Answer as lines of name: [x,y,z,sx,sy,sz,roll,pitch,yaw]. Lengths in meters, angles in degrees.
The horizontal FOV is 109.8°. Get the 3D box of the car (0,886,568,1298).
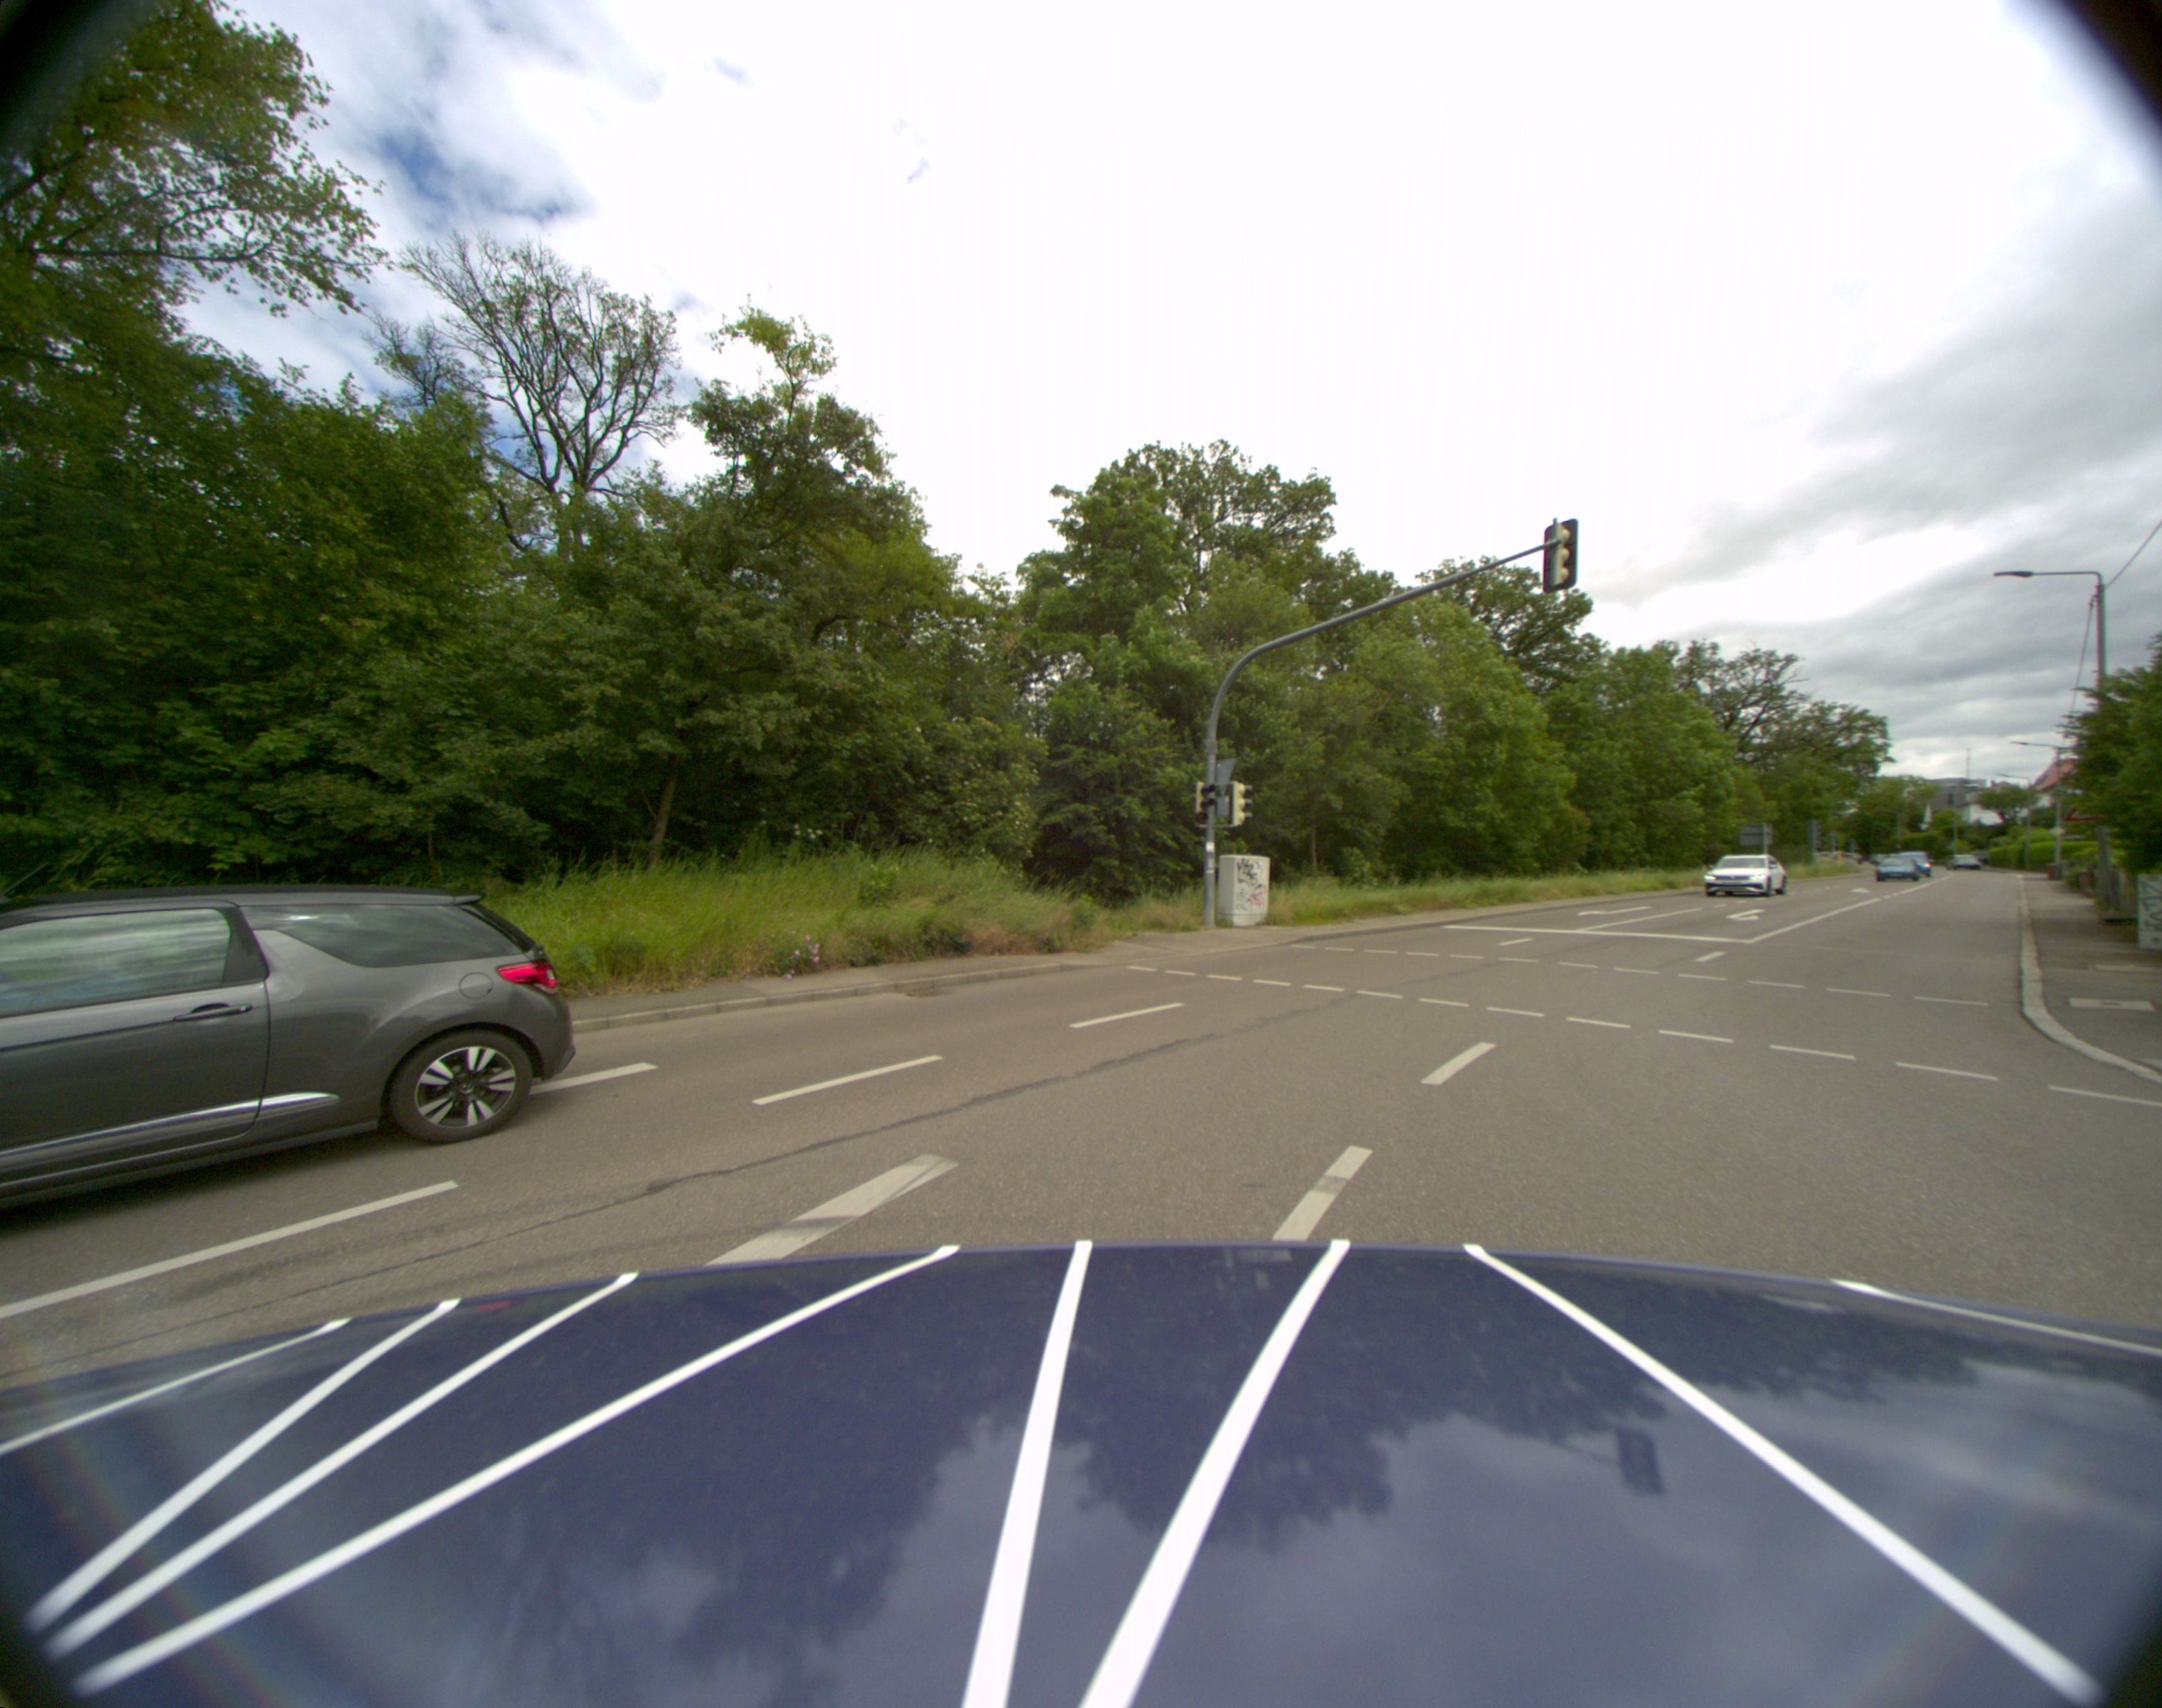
car: [-4.986,1.018,3.637,1.818,1.501,3.816,1,1,40]

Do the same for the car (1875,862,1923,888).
car: [48.775,1.242,45.268,3.608,1.501,1.781,1,-1,-40]

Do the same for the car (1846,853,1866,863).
car: [115.163,0.569,112.930,3.608,1.501,1.781,1,-1,-40]

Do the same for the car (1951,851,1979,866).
car: [87.136,0.459,74.906,3.608,1.501,1.781,1,-1,-40]

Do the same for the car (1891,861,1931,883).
car: [58.605,1.287,53.649,3.608,1.501,1.781,1,-1,-40]

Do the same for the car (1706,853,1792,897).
car: [26.427,0.815,30.022,4.664,1.618,1.859,1,-2,-40]
